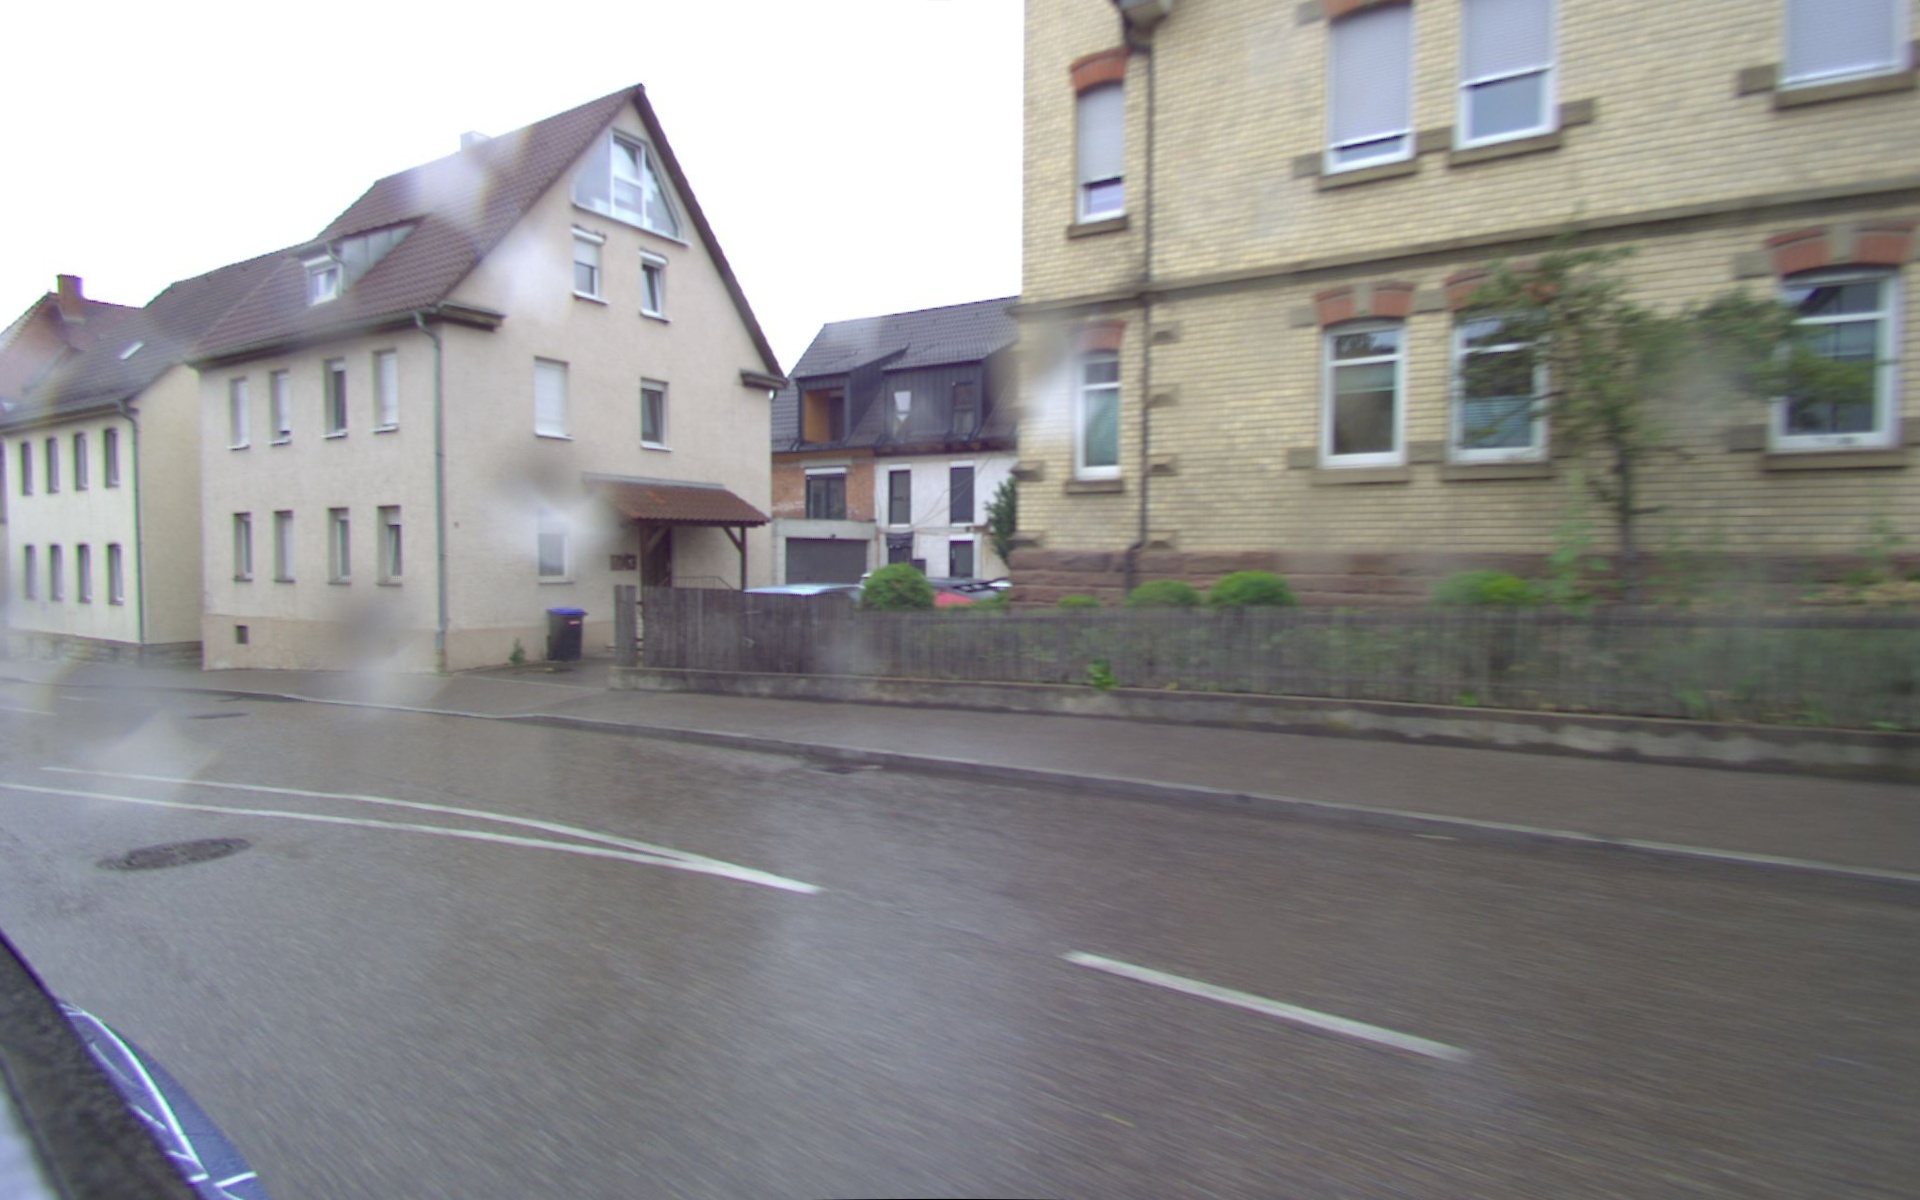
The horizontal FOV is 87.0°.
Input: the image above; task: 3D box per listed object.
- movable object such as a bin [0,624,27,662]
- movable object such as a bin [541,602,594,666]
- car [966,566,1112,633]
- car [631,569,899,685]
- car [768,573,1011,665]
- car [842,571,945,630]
[{"bbox_3d":[-33.978,1.537,35.713,1.046,1.275,1.271,-2,1,30],"label":"movable object such as a bin"},{"bbox_3d":[-8.038,0.689,20.718,0.648,1.256,0.750,-2,0,32],"label":"movable object such as a bin"},{"bbox_3d":[2.070,-0.033,26.019,3.523,1.477,1.845,-5,2,-45],"label":"car"},{"bbox_3d":[-3.033,0.410,15.526,3.872,1.514,1.757,-2,2,34],"label":"car"},{"bbox_3d":[-1.254,0.352,17.546,3.870,1.377,1.758,-2,2,32],"label":"car"},{"bbox_3d":[-2.079,-0.019,32.448,1.758,1.612,3.227,-2,3,30],"label":"car"}]
